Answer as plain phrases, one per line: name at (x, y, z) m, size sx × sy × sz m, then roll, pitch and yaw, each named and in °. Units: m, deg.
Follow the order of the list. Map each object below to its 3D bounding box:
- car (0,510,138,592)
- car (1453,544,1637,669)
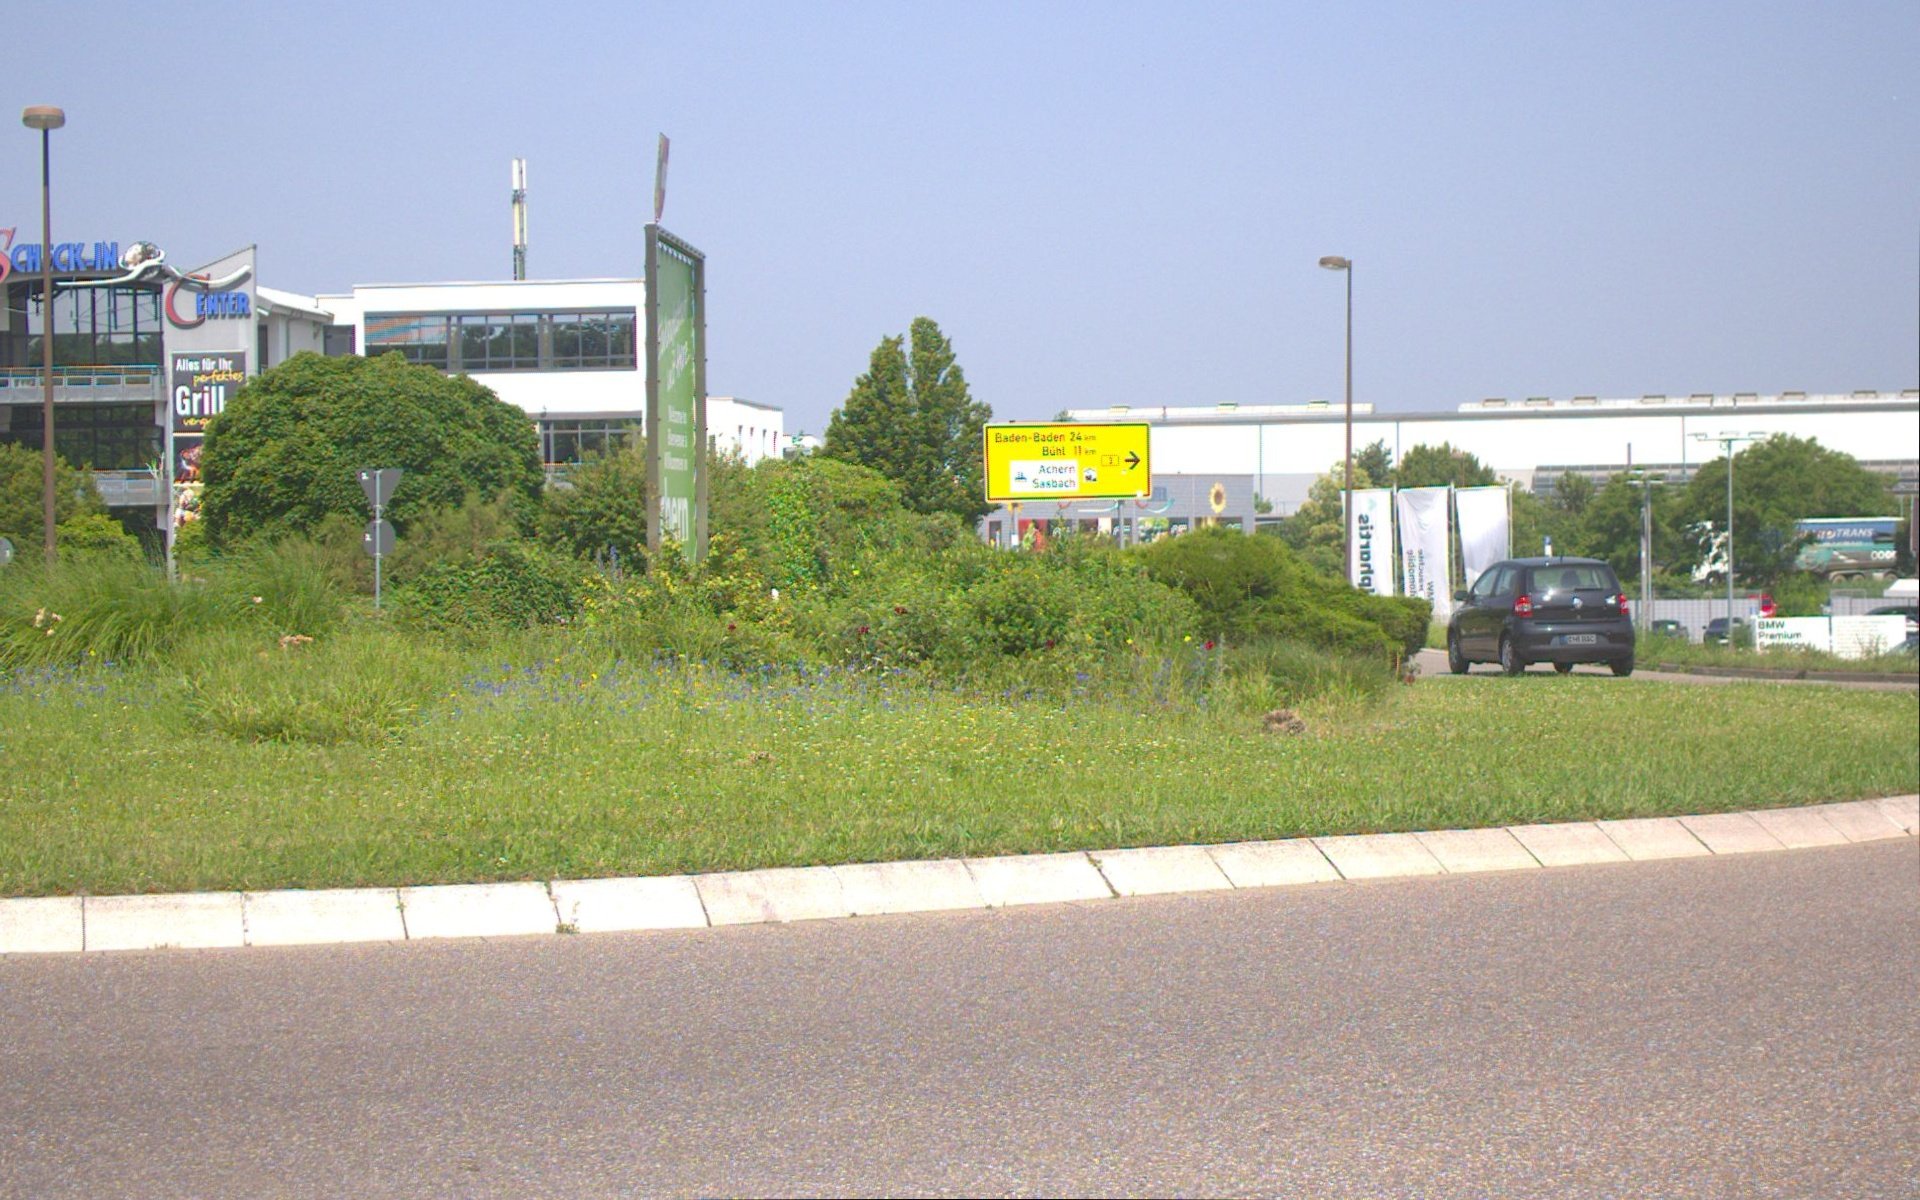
car at (-18.454, -0.972, 69.336) m, size 3.315 × 1.569 × 1.555 m, roll 0°, pitch -1°, yaw 15°
car at (7.539, 0.083, 44.600) m, size 1.779 × 1.525 × 4.000 m, roll 1°, pitch 0°, yaw 1°
